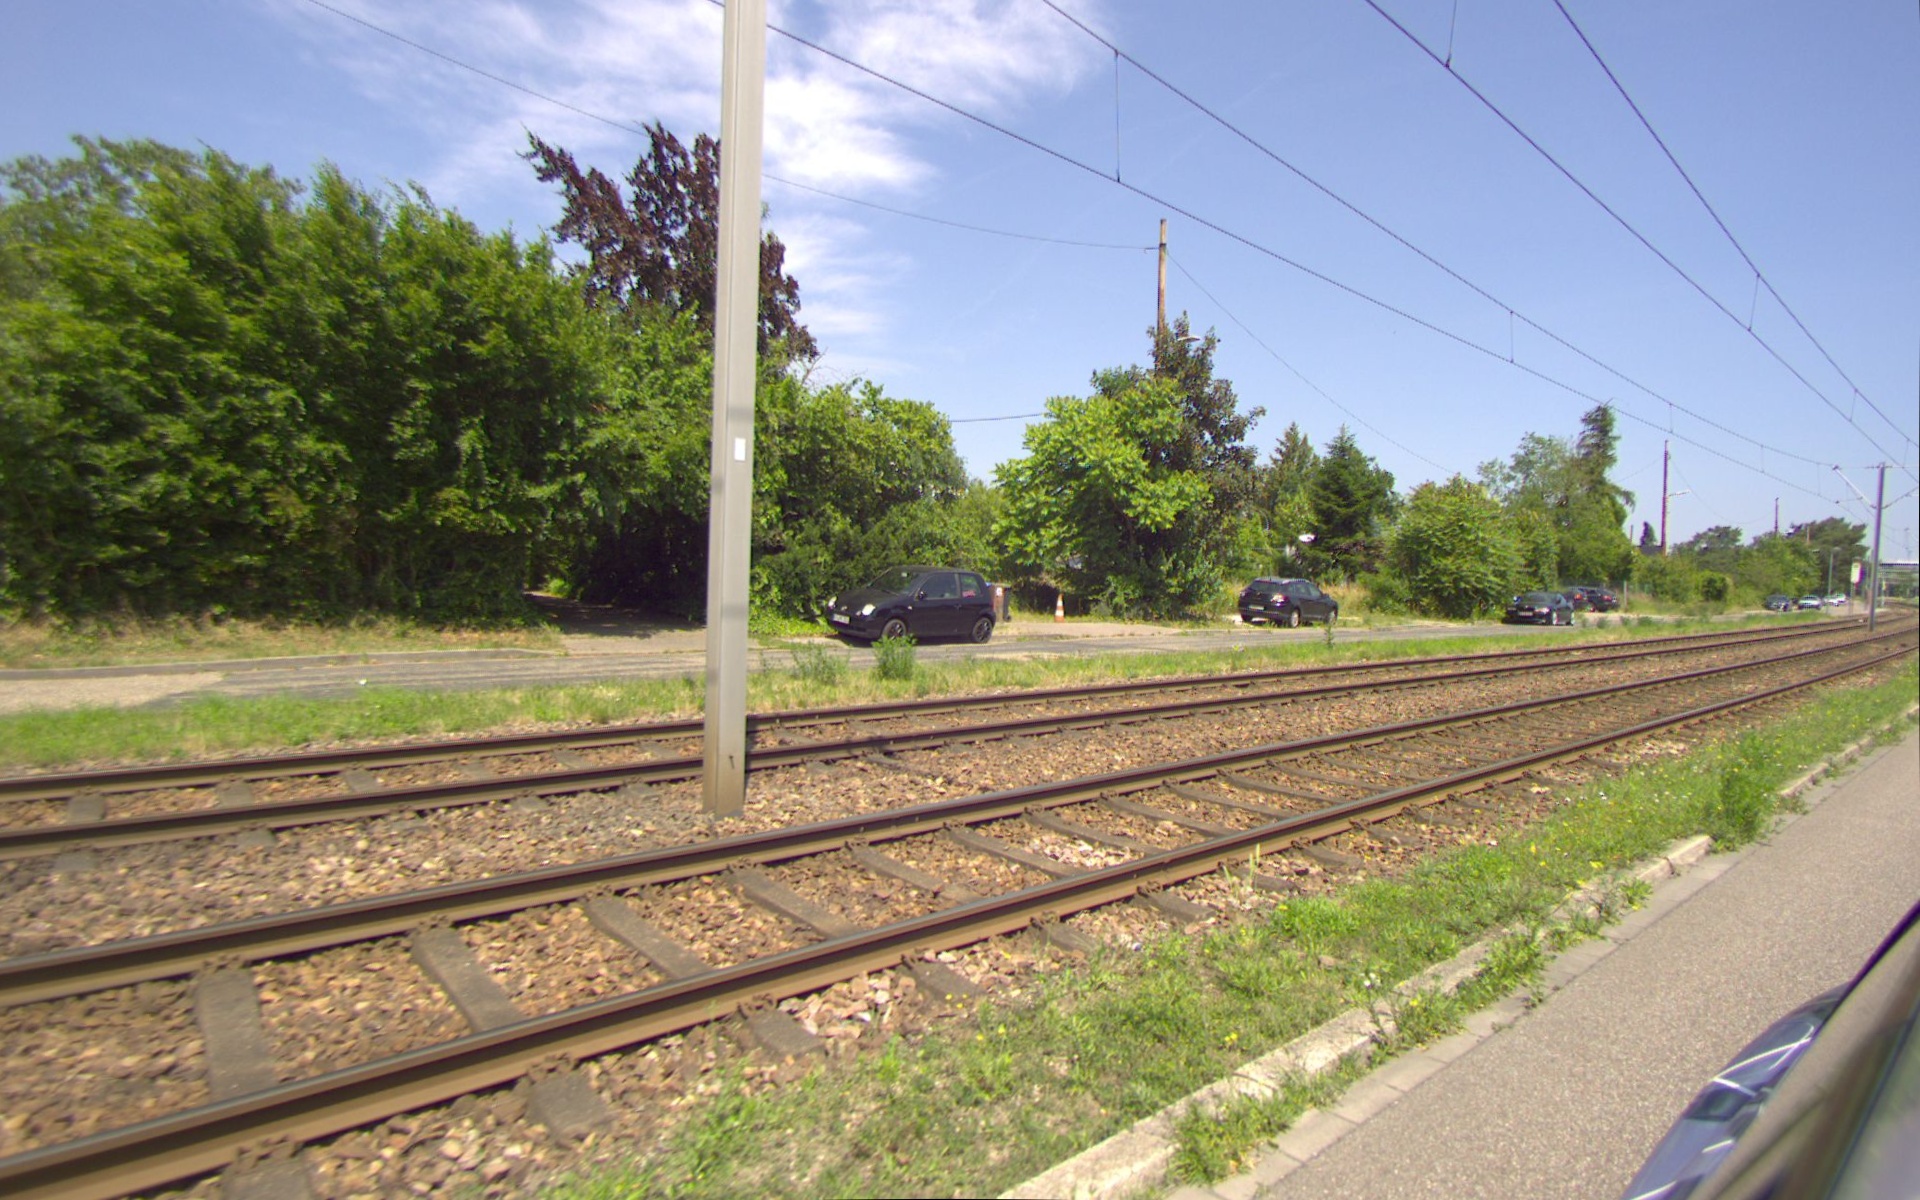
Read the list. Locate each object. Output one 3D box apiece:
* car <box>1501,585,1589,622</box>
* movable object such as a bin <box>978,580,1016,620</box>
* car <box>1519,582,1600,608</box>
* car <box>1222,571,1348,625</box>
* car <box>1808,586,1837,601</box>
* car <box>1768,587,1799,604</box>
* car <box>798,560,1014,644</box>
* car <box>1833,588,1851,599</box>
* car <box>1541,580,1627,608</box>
[{"bbox_3d":[23.439,0.099,40.490,4.440,1.346,1.863,-1,2,-44],"label":"car"},{"bbox_3d":[0.926,-0.010,25.146,0.610,0.949,0.725,0,2,-41],"label":"movable object such as a bin"},{"bbox_3d":[35.506,-0.321,59.977,1.866,1.436,3.734,-1,2,-41],"label":"car"},{"bbox_3d":[10.449,-0.107,32.361,4.481,1.580,1.937,-1,2,-44],"label":"car"},{"bbox_3d":[86.322,-0.675,101.283,1.940,1.439,3.936,2,2,44],"label":"car"},{"bbox_3d":[72.535,-0.423,89.145,4.794,1.439,1.621,-1,2,-45],"label":"car"},{"bbox_3d":[-1.004,-0.018,19.955,3.931,1.488,1.918,-1,2,-41],"label":"car"},{"bbox_3d":[123.509,-0.939,141.713,1.713,1.507,3.939,2,2,43],"label":"car"},{"bbox_3d":[37.573,-0.387,60.993,1.863,1.536,4.000,0,2,-36],"label":"car"}]
